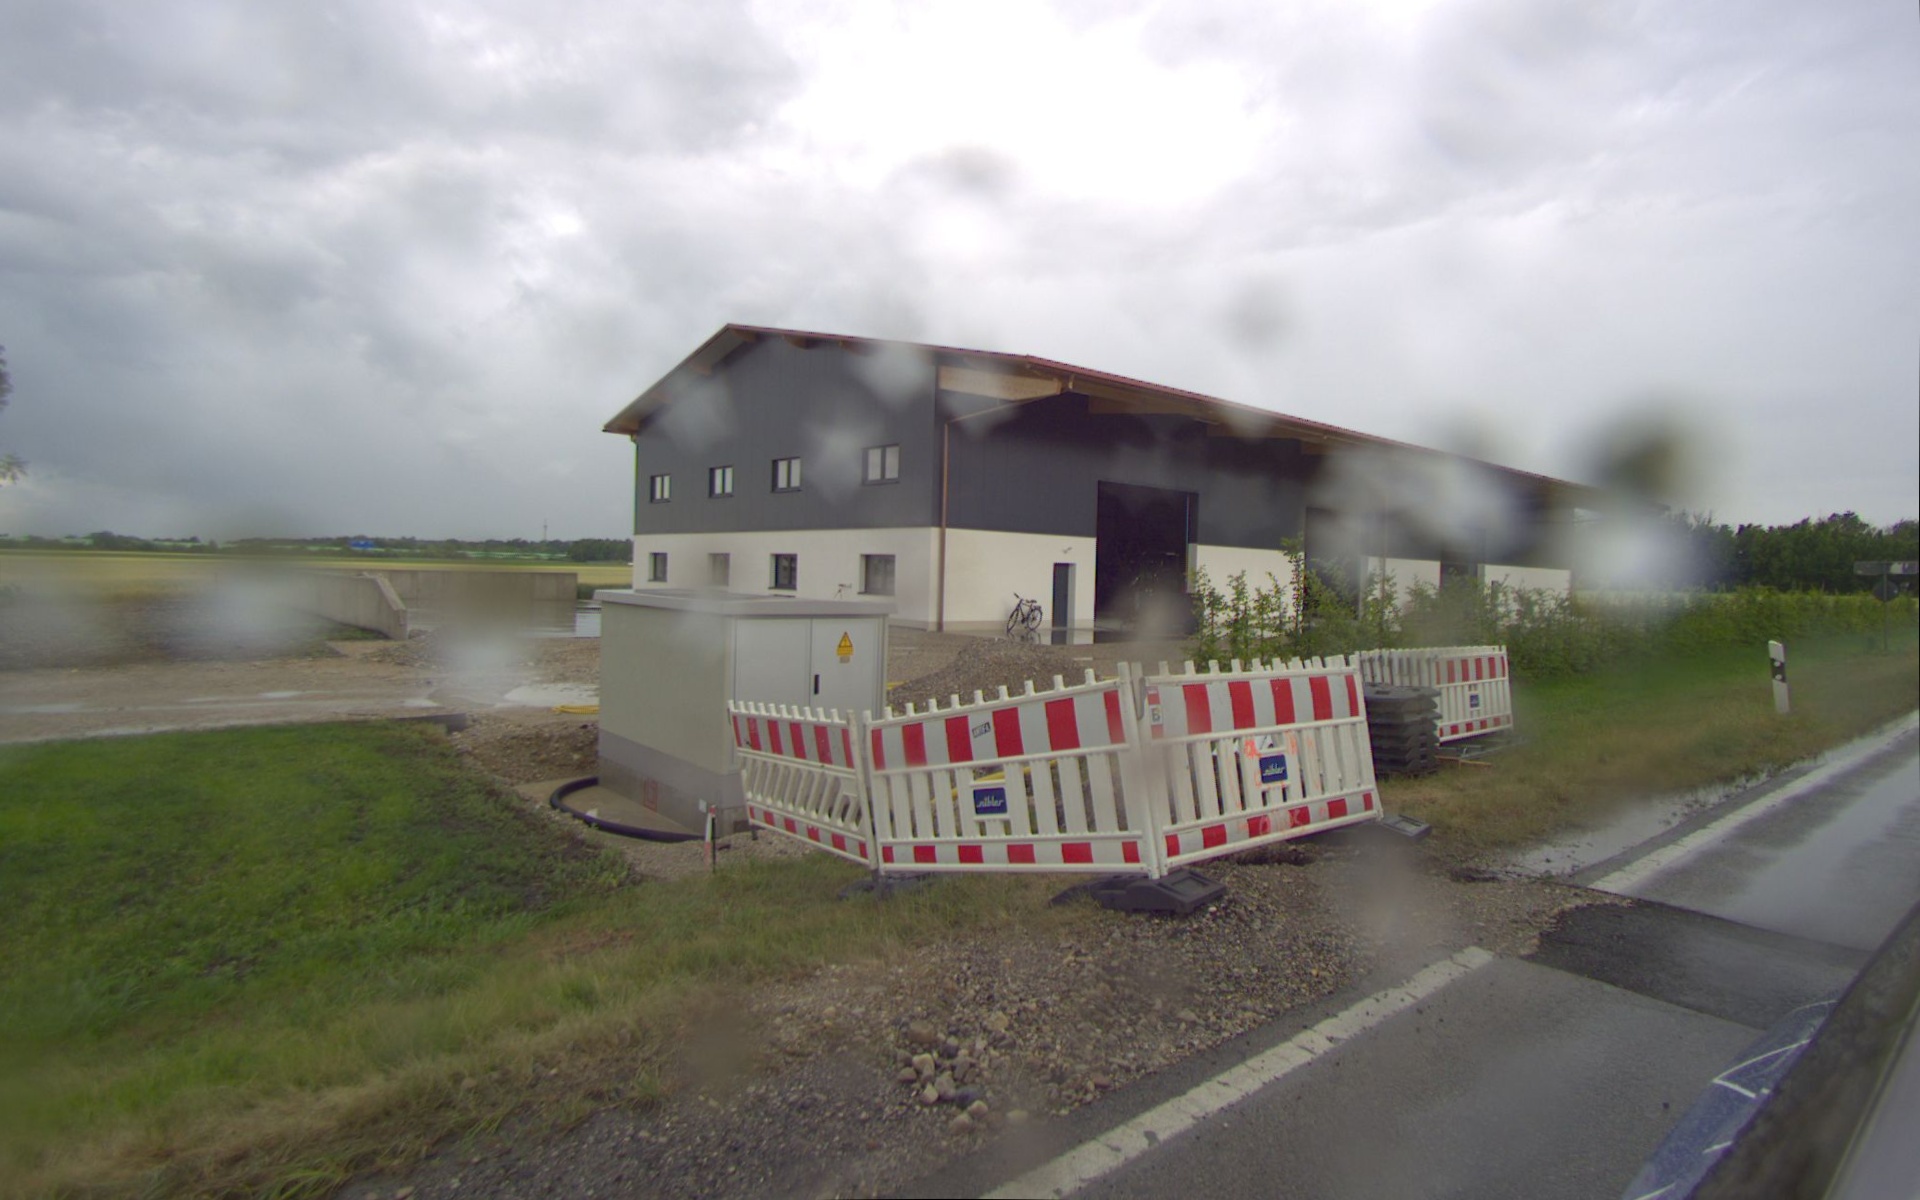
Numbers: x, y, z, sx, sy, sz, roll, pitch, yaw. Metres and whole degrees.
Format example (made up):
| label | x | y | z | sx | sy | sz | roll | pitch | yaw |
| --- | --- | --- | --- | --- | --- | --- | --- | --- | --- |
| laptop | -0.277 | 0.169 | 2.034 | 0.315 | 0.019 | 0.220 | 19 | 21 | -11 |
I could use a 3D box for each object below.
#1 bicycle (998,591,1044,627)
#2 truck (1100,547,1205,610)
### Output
| label | x | y | z | sx | sy | sz | roll | pitch | yaw |
| --- | --- | --- | --- | --- | --- | --- | --- | --- | --- |
| bicycle | 1.923 | 0.264 | 31.891 | 1.631 | 1.085 | 0.391 | 0 | 2 | -41 |
| truck | 9.855 | -1.103 | 51.667 | 5.250 | 3.050 | 2.495 | 0 | 2 | -41 |
